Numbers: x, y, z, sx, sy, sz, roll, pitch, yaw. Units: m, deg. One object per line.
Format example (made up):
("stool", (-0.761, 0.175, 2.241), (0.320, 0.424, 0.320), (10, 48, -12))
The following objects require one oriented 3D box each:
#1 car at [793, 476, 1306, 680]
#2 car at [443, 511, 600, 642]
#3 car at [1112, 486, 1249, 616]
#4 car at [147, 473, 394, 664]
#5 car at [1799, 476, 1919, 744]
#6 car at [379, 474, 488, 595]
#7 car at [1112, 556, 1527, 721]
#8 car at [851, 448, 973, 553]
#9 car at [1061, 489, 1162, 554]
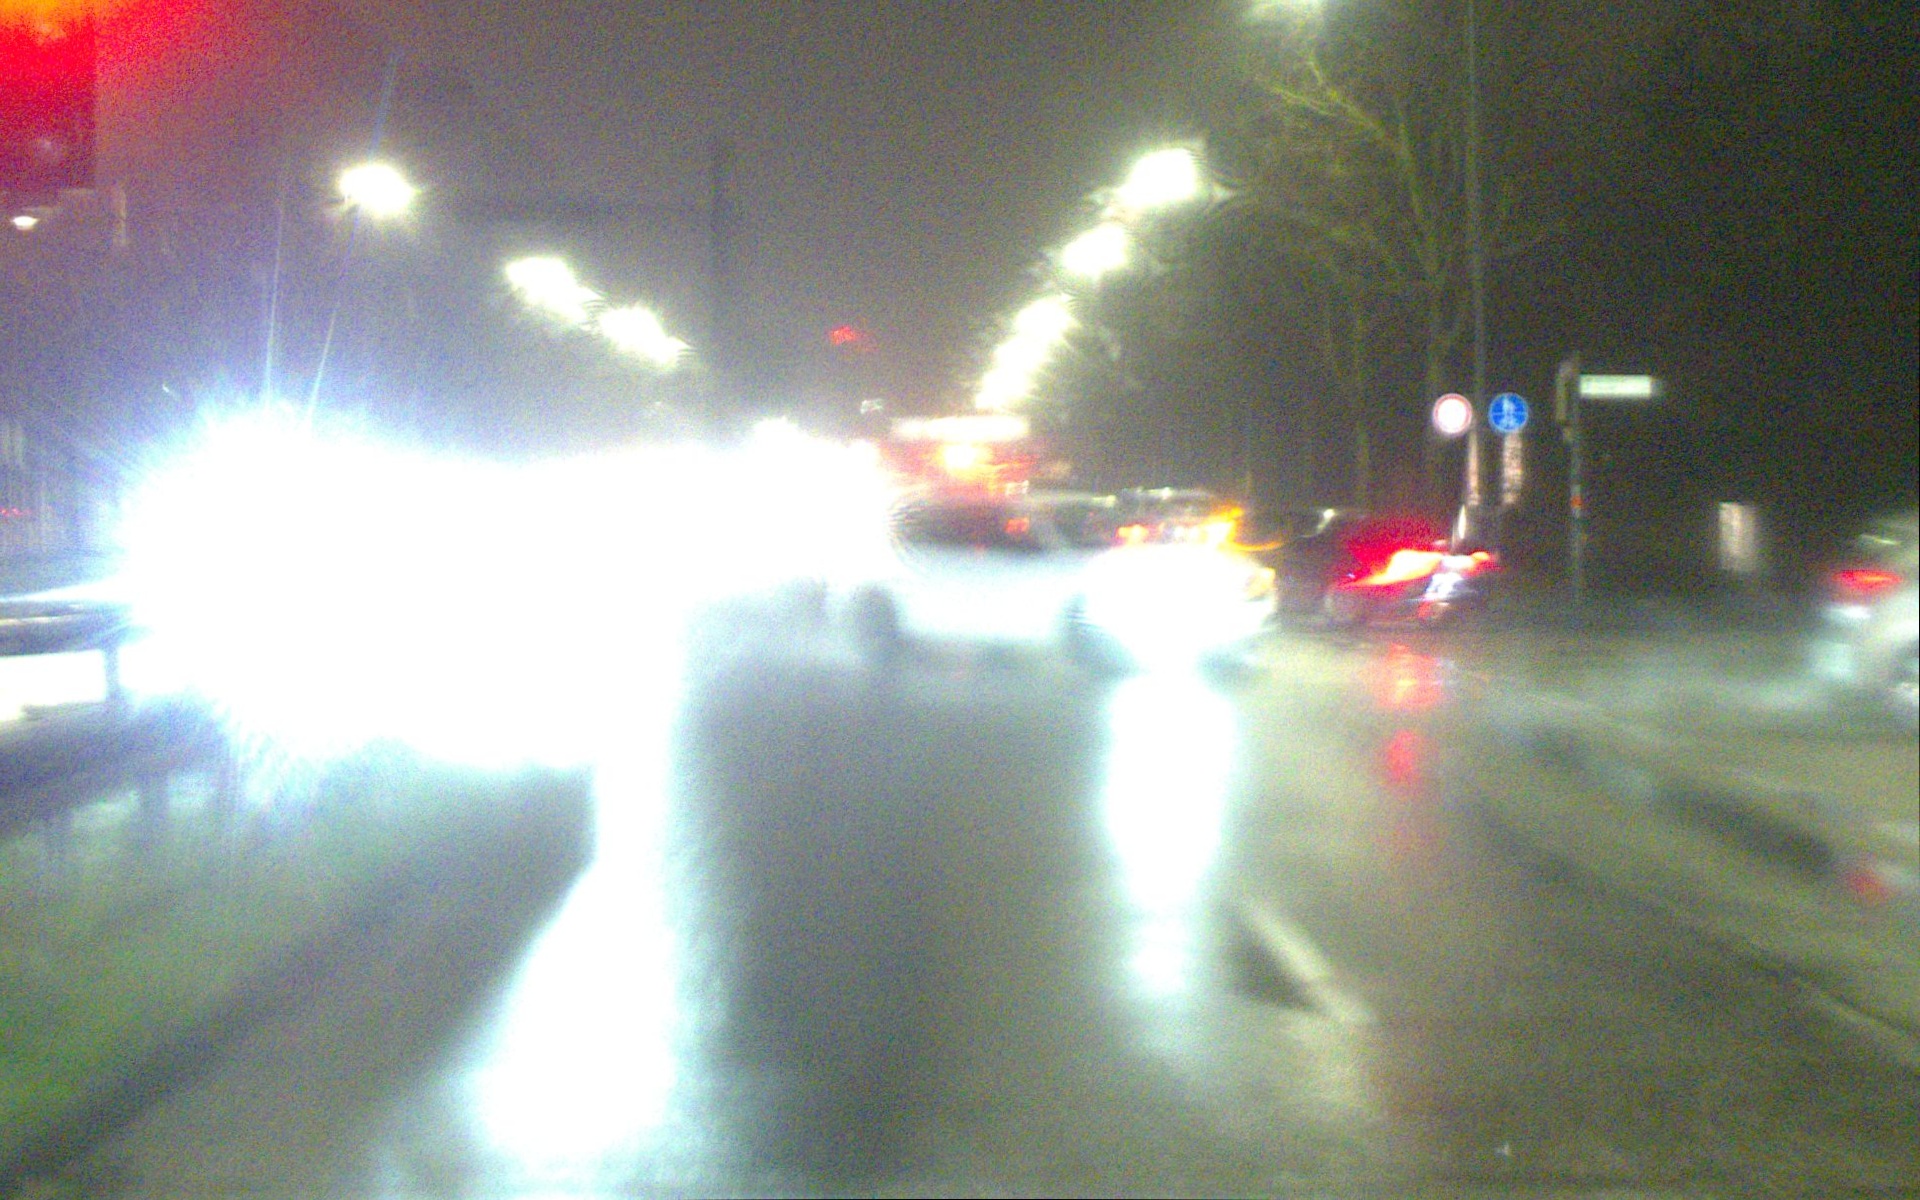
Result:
("car", (0.722, -0.211, 30.321), (4.460, 1.665, 1.835), (1, 1, 44))
("car", (-5.609, -0.315, 44.420), (1.901, 1.612, 4.515), (0, 1, -6))
("car", (3.520, -0.789, 55.527), (2.038, 2.007, 4.307), (0, 1, 2))
("car", (-6.725, -0.313, 33.276), (1.717, 1.728, 3.766), (0, 1, -21))
("car", (7.572, 0.057, 21.640), (4.417, 1.644, 1.836), (0, 1, 15))
("car", (-9.008, -1.109, 59.047), (1.698, 2.007, 3.568), (0, 1, -6))
("car", (4.096, 0.395, 39.094), (4.298, 1.779, 2.043), (0, 1, 22))
("car", (-1.085, -2.110, 74.115), (2.441, 2.186, 5.079), (0, 1, -3))
("car", (3.711, -1.915, 84.713), (2.091, 1.540, 4.307), (0, 1, -3))
